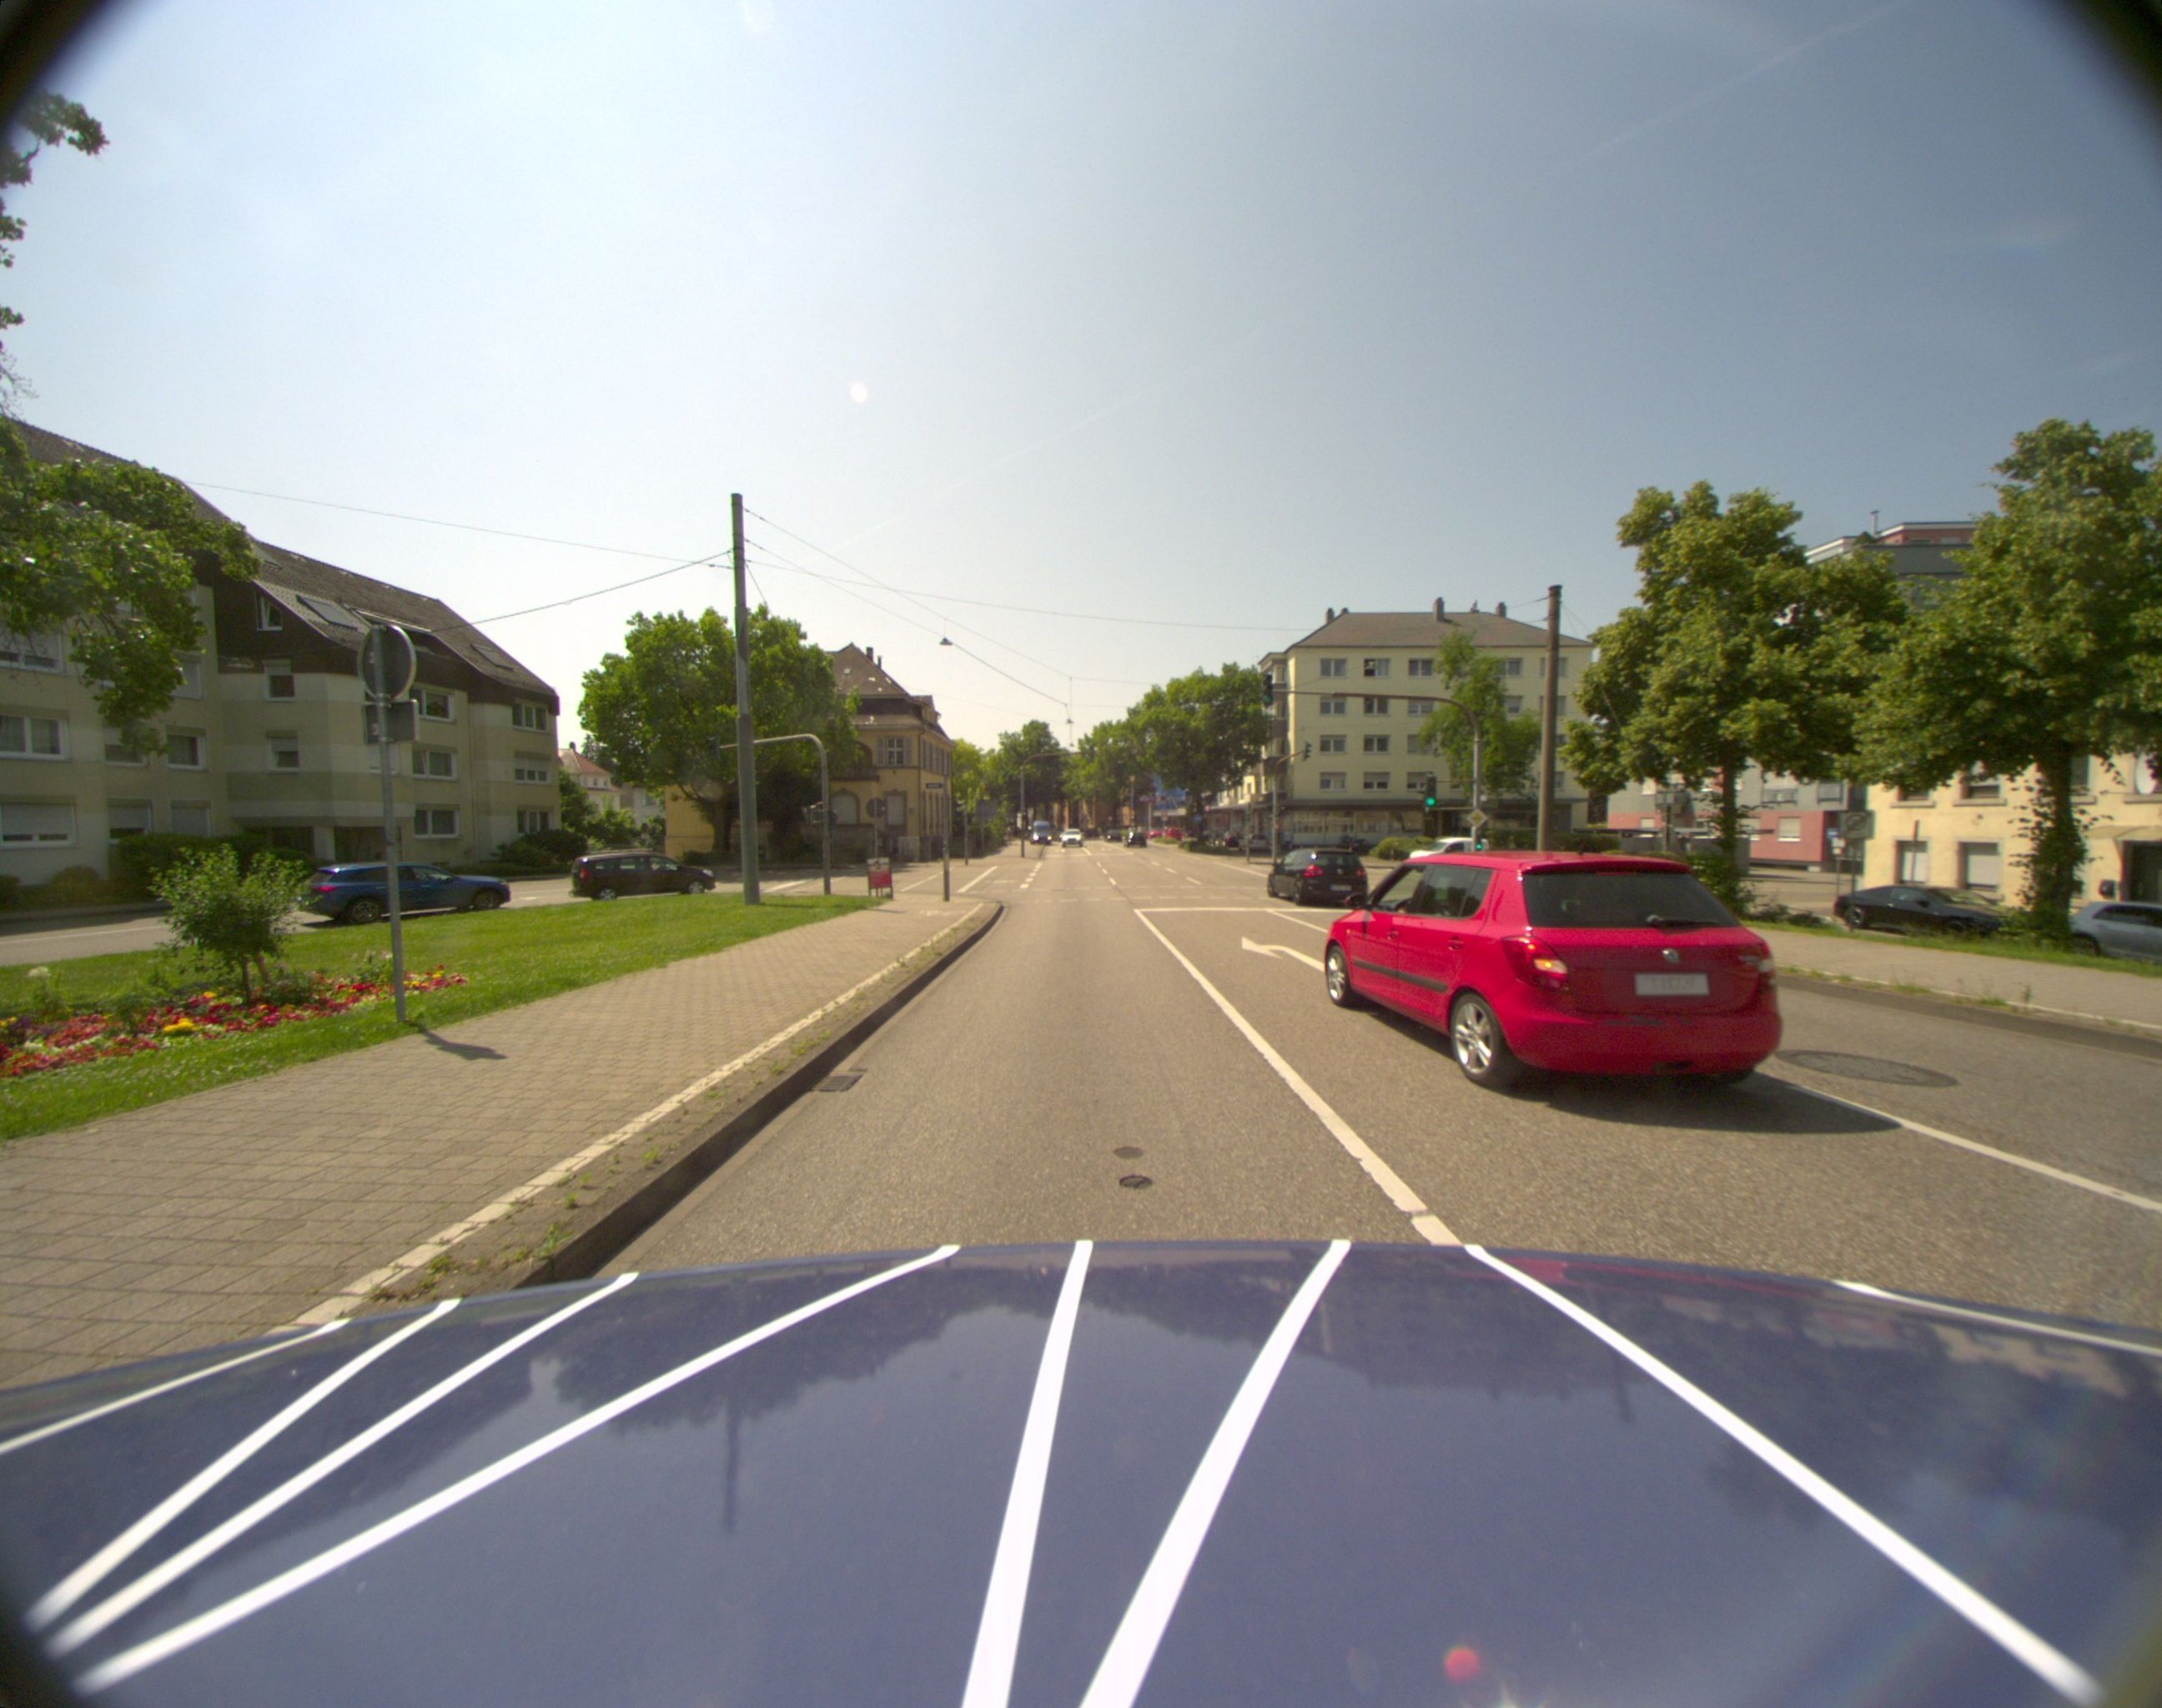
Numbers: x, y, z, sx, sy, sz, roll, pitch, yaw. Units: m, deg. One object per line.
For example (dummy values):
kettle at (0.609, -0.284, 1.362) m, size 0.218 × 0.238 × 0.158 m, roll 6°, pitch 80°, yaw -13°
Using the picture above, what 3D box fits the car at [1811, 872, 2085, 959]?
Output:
car at (23.449, 1.538, 20.989) m, size 1.818 × 1.620 × 5.285 m, roll 2°, pitch 3°, yaw 6°

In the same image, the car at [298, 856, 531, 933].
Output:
car at (-19.725, 1.088, 22.785) m, size 1.994 × 1.692 × 4.775 m, roll 2°, pitch 5°, yaw 29°

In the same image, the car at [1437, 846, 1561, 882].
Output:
car at (19.372, 0.459, 35.360) m, size 4.618 × 1.393 × 2.114 m, roll 2°, pitch 3°, yaw -5°

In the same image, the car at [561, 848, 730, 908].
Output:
car at (-15.366, 0.772, 27.021) m, size 4.826 × 1.623 × 1.912 m, roll -5°, pitch 5°, yaw -43°

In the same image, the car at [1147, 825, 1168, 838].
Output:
car at (9.694, -2.907, 96.332) m, size 1.913 × 1.511 × 4.330 m, roll -1°, pitch 3°, yaw -4°

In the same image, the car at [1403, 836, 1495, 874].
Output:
car at (18.707, 0.037, 38.773) m, size 3.696 × 1.726 × 1.892 m, roll 2°, pitch 3°, yaw -3°

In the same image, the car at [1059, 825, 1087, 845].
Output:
car at (-0.814, -1.811, 71.484) m, size 2.000 × 1.740 × 4.440 m, roll -2°, pitch 3°, yaw -8°

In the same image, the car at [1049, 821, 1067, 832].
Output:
car at (-3.981, -4.730, 130.913) m, size 1.916 × 1.720 × 3.992 m, roll -3°, pitch 3°, yaw -17°

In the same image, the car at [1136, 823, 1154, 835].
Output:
car at (8.920, -3.516, 106.612) m, size 1.913 × 1.511 × 4.330 m, roll -1°, pitch 3°, yaw -4°

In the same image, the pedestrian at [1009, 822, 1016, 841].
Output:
pedestrian at (-6.763, -2.221, 74.570) m, size 0.621 × 1.908 × 0.743 m, roll 0°, pitch 4°, yaw -2°

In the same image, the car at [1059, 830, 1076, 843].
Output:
car at (-1.655, -2.163, 91.472) m, size 1.736 × 1.398 × 4.329 m, roll -2°, pitch 3°, yaw -5°

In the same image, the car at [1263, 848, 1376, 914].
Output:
car at (6.249, 0.631, 20.380) m, size 1.718 × 1.477 × 4.030 m, roll 2°, pitch 1°, yaw 0°

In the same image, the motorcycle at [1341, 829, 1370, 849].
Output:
motorcycle at (20.575, -1.100, 56.890) m, size 1.919 × 1.413 × 0.714 m, roll -1°, pitch 5°, yaw 0°

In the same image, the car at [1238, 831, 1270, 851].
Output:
car at (13.583, -1.037, 59.852) m, size 1.586 × 1.451 × 3.937 m, roll -1°, pitch 3°, yaw -1°

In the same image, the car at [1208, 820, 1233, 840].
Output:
car at (13.483, -2.373, 73.629) m, size 1.643 × 1.829 × 3.857 m, roll -1°, pitch 3°, yaw -2°

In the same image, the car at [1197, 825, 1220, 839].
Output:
car at (13.263, -2.287, 79.146) m, size 1.704 × 1.280 × 3.858 m, roll -1°, pitch 3°, yaw -2°

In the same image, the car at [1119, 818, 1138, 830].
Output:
car at (7.166, -4.520, 115.770) m, size 1.914 × 1.795 × 4.328 m, roll -1°, pitch 3°, yaw -9°

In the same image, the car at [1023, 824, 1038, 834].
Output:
car at (-9.886, -4.826, 149.208) m, size 1.921 × 1.784 × 3.993 m, roll -3°, pitch 2°, yaw -18°

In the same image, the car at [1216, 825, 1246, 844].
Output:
car at (13.329, -1.738, 67.770) m, size 1.626 × 1.560 × 4.836 m, roll -1°, pitch 3°, yaw -1°

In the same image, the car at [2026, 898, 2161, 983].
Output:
car at (22.890, 1.877, 15.569) m, size 1.779 × 1.424 × 4.429 m, roll -2°, pitch 3°, yaw 7°

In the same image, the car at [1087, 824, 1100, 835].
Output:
car at (1.716, -3.414, 105.134) m, size 1.620 × 1.448 × 3.707 m, roll 1°, pitch 2°, yaw -3°

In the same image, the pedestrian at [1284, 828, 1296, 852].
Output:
pedestrian at (15.567, -1.069, 56.581) m, size 0.628 × 1.751 × 0.742 m, roll 0°, pitch 4°, yaw -1°

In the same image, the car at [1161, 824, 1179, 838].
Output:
car at (10.017, -2.600, 85.657) m, size 1.639 × 1.460 × 3.632 m, roll 0°, pitch 3°, yaw -1°

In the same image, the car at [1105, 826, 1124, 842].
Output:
car at (3.788, -2.261, 86.815) m, size 1.760 × 1.552 × 4.312 m, roll 1°, pitch 5°, yaw -4°

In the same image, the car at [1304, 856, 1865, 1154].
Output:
car at (3.173, 0.779, 5.854) m, size 1.651 × 1.456 × 3.859 m, roll 0°, pitch 1°, yaw -2°

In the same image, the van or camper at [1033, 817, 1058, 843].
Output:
van or camper at (-3.828, -2.605, 80.362) m, size 2.165 × 2.568 × 5.838 m, roll -2°, pitch 4°, yaw -7°

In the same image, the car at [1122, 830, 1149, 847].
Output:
car at (4.890, -1.396, 68.509) m, size 1.842 × 1.391 × 4.046 m, roll 1°, pitch 2°, yaw -5°
